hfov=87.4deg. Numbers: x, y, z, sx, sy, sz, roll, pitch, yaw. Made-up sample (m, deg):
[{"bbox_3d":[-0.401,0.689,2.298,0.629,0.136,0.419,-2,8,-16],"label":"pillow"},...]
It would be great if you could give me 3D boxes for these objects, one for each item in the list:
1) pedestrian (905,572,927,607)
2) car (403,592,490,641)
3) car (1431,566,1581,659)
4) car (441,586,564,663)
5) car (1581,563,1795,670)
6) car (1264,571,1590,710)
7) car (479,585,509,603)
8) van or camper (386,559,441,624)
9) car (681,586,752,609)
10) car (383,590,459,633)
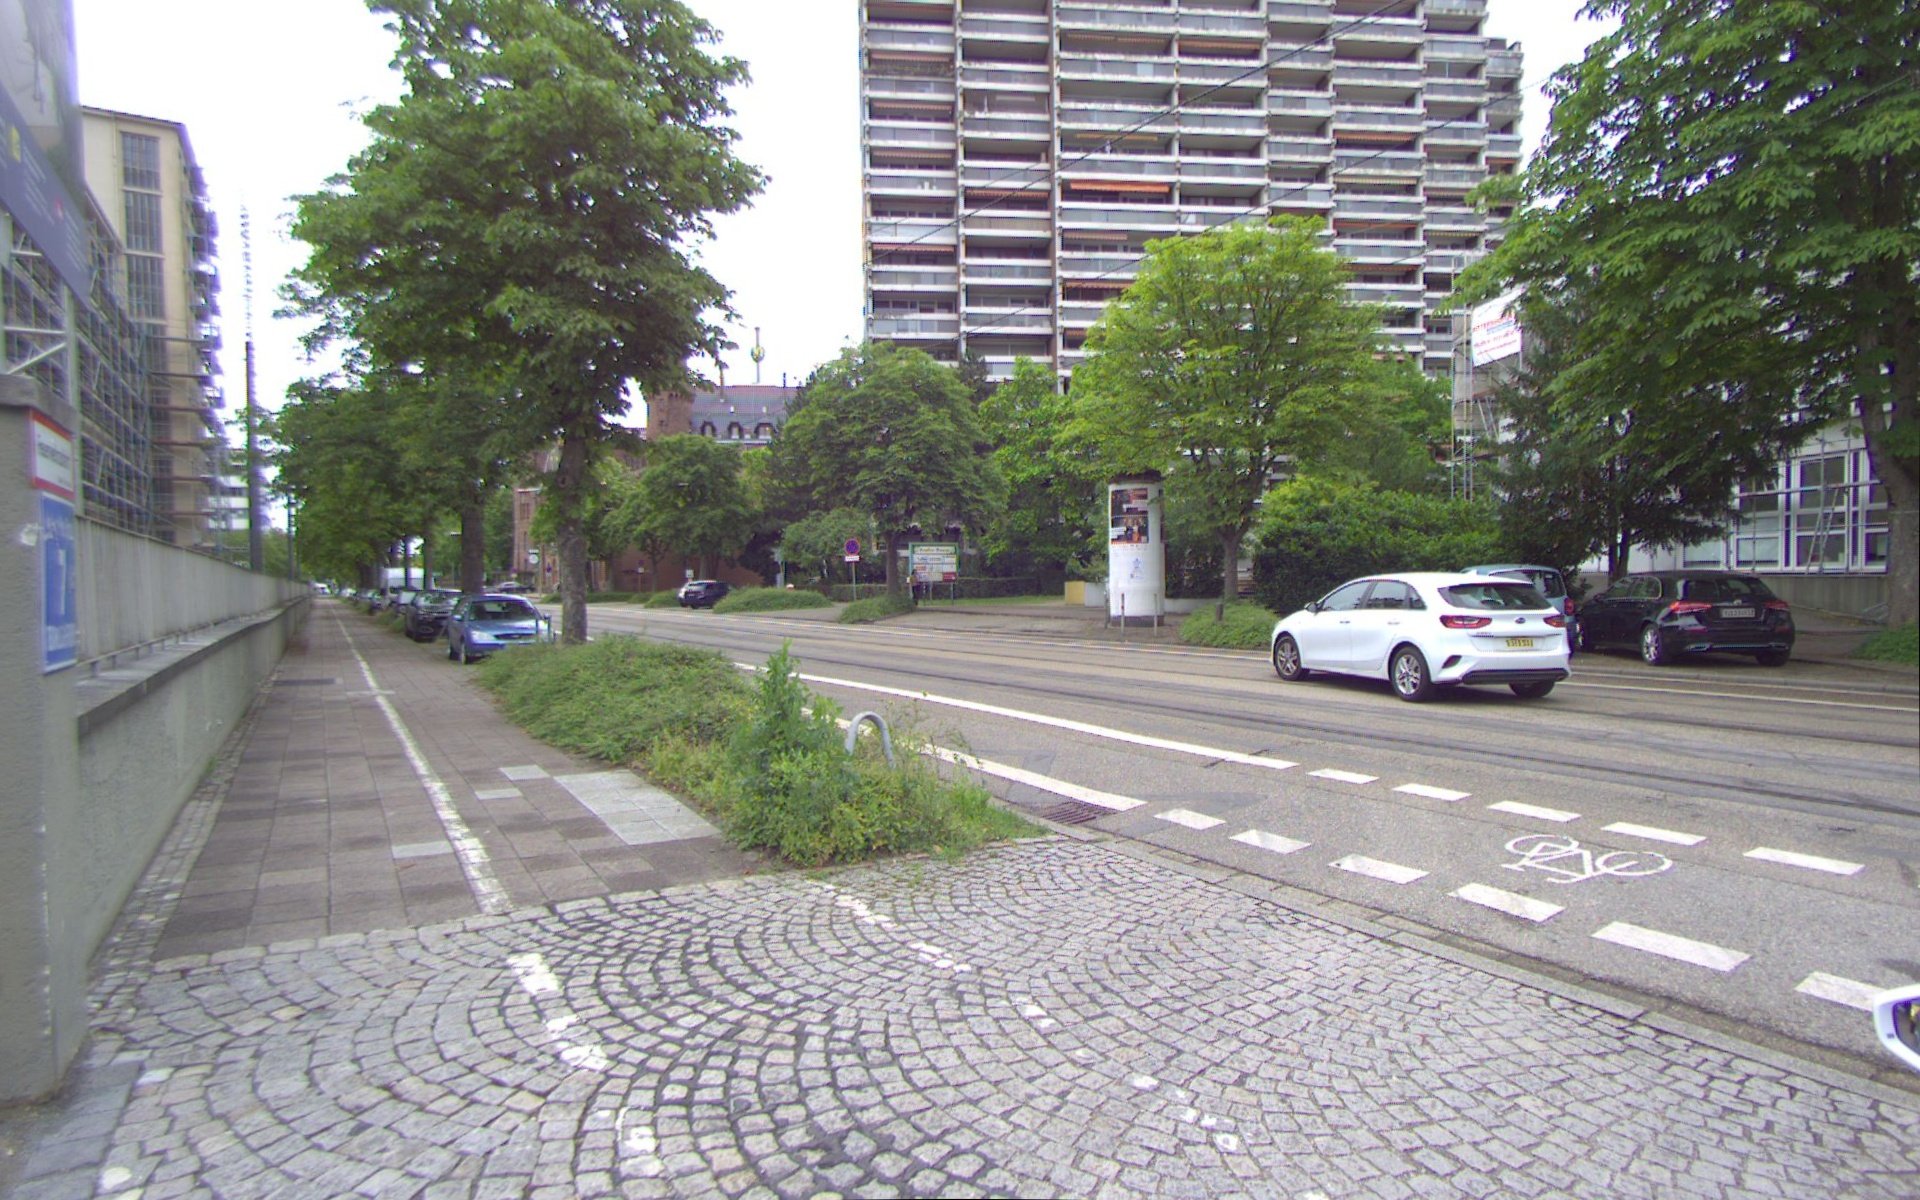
[{"bbox_3d":[-1.933,-0.460,43.822,0.838,1.548,0.515,-2,2,-45],"label":"pedestrian"},{"bbox_3d":[-15.530,0.445,30.292,1.978,1.328,3.964,-1,1,-32],"label":"car"},{"bbox_3d":[9.991,0.176,18.634,1.586,1.558,3.338,0,1,13],"label":"car"},{"bbox_3d":[-9.711,0.436,21.172,1.813,1.437,3.964,-1,1,-33],"label":"car"},{"bbox_3d":[11.472,0.229,16.097,1.586,1.531,3.338,0,0,13],"label":"car"},{"bbox_3d":[5.588,0.368,12.648,1.749,1.452,3.970,-1,2,-11],"label":"car"},{"bbox_3d":[-42.274,-0.549,91.026,1.805,1.510,4.214,-1,1,-34],"label":"car"},{"bbox_3d":[-24.834,-0.415,45.758,1.974,2.789,3.972,-1,1,-27],"label":"van or camper"},{"bbox_3d":[-13.335,-0.157,55.133,3.523,1.222,1.504,0,1,-2],"label":"car"},{"bbox_3d":[-18.236,0.341,33.906,1.978,1.328,3.964,-1,1,-32],"label":"car"}]
